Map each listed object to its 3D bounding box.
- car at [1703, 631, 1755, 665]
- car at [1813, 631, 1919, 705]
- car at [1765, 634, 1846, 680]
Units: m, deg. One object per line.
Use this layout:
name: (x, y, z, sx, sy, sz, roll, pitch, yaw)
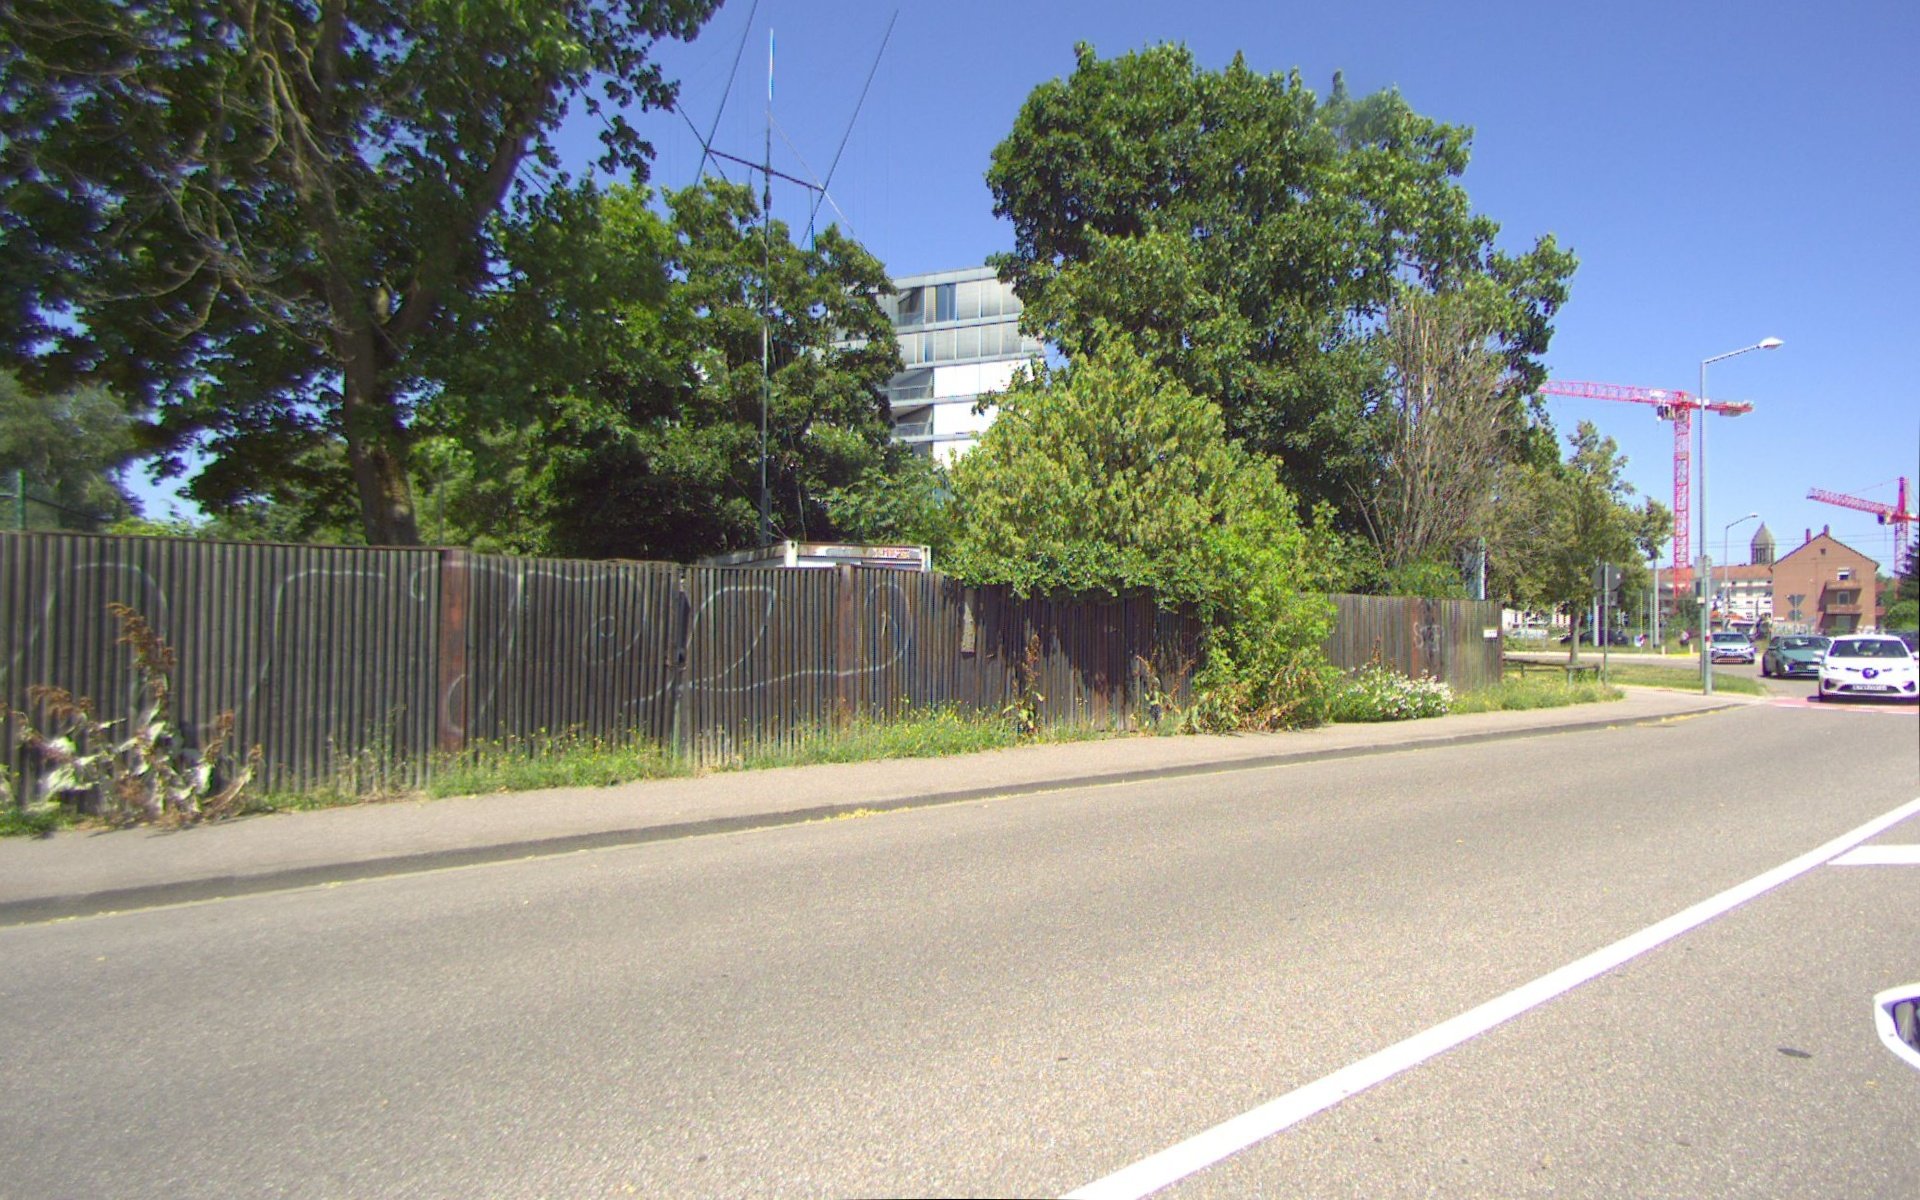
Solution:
car: (35.510, 2.181, 46.462, 1.704, 1.421, 4.257, 2, 0, 36)
car: (21.050, 1.512, 23.419, 1.755, 1.547, 3.853, -1, -2, 41)
car: (28.510, 1.873, 33.815, 1.729, 1.390, 4.304, 2, 0, 45)
